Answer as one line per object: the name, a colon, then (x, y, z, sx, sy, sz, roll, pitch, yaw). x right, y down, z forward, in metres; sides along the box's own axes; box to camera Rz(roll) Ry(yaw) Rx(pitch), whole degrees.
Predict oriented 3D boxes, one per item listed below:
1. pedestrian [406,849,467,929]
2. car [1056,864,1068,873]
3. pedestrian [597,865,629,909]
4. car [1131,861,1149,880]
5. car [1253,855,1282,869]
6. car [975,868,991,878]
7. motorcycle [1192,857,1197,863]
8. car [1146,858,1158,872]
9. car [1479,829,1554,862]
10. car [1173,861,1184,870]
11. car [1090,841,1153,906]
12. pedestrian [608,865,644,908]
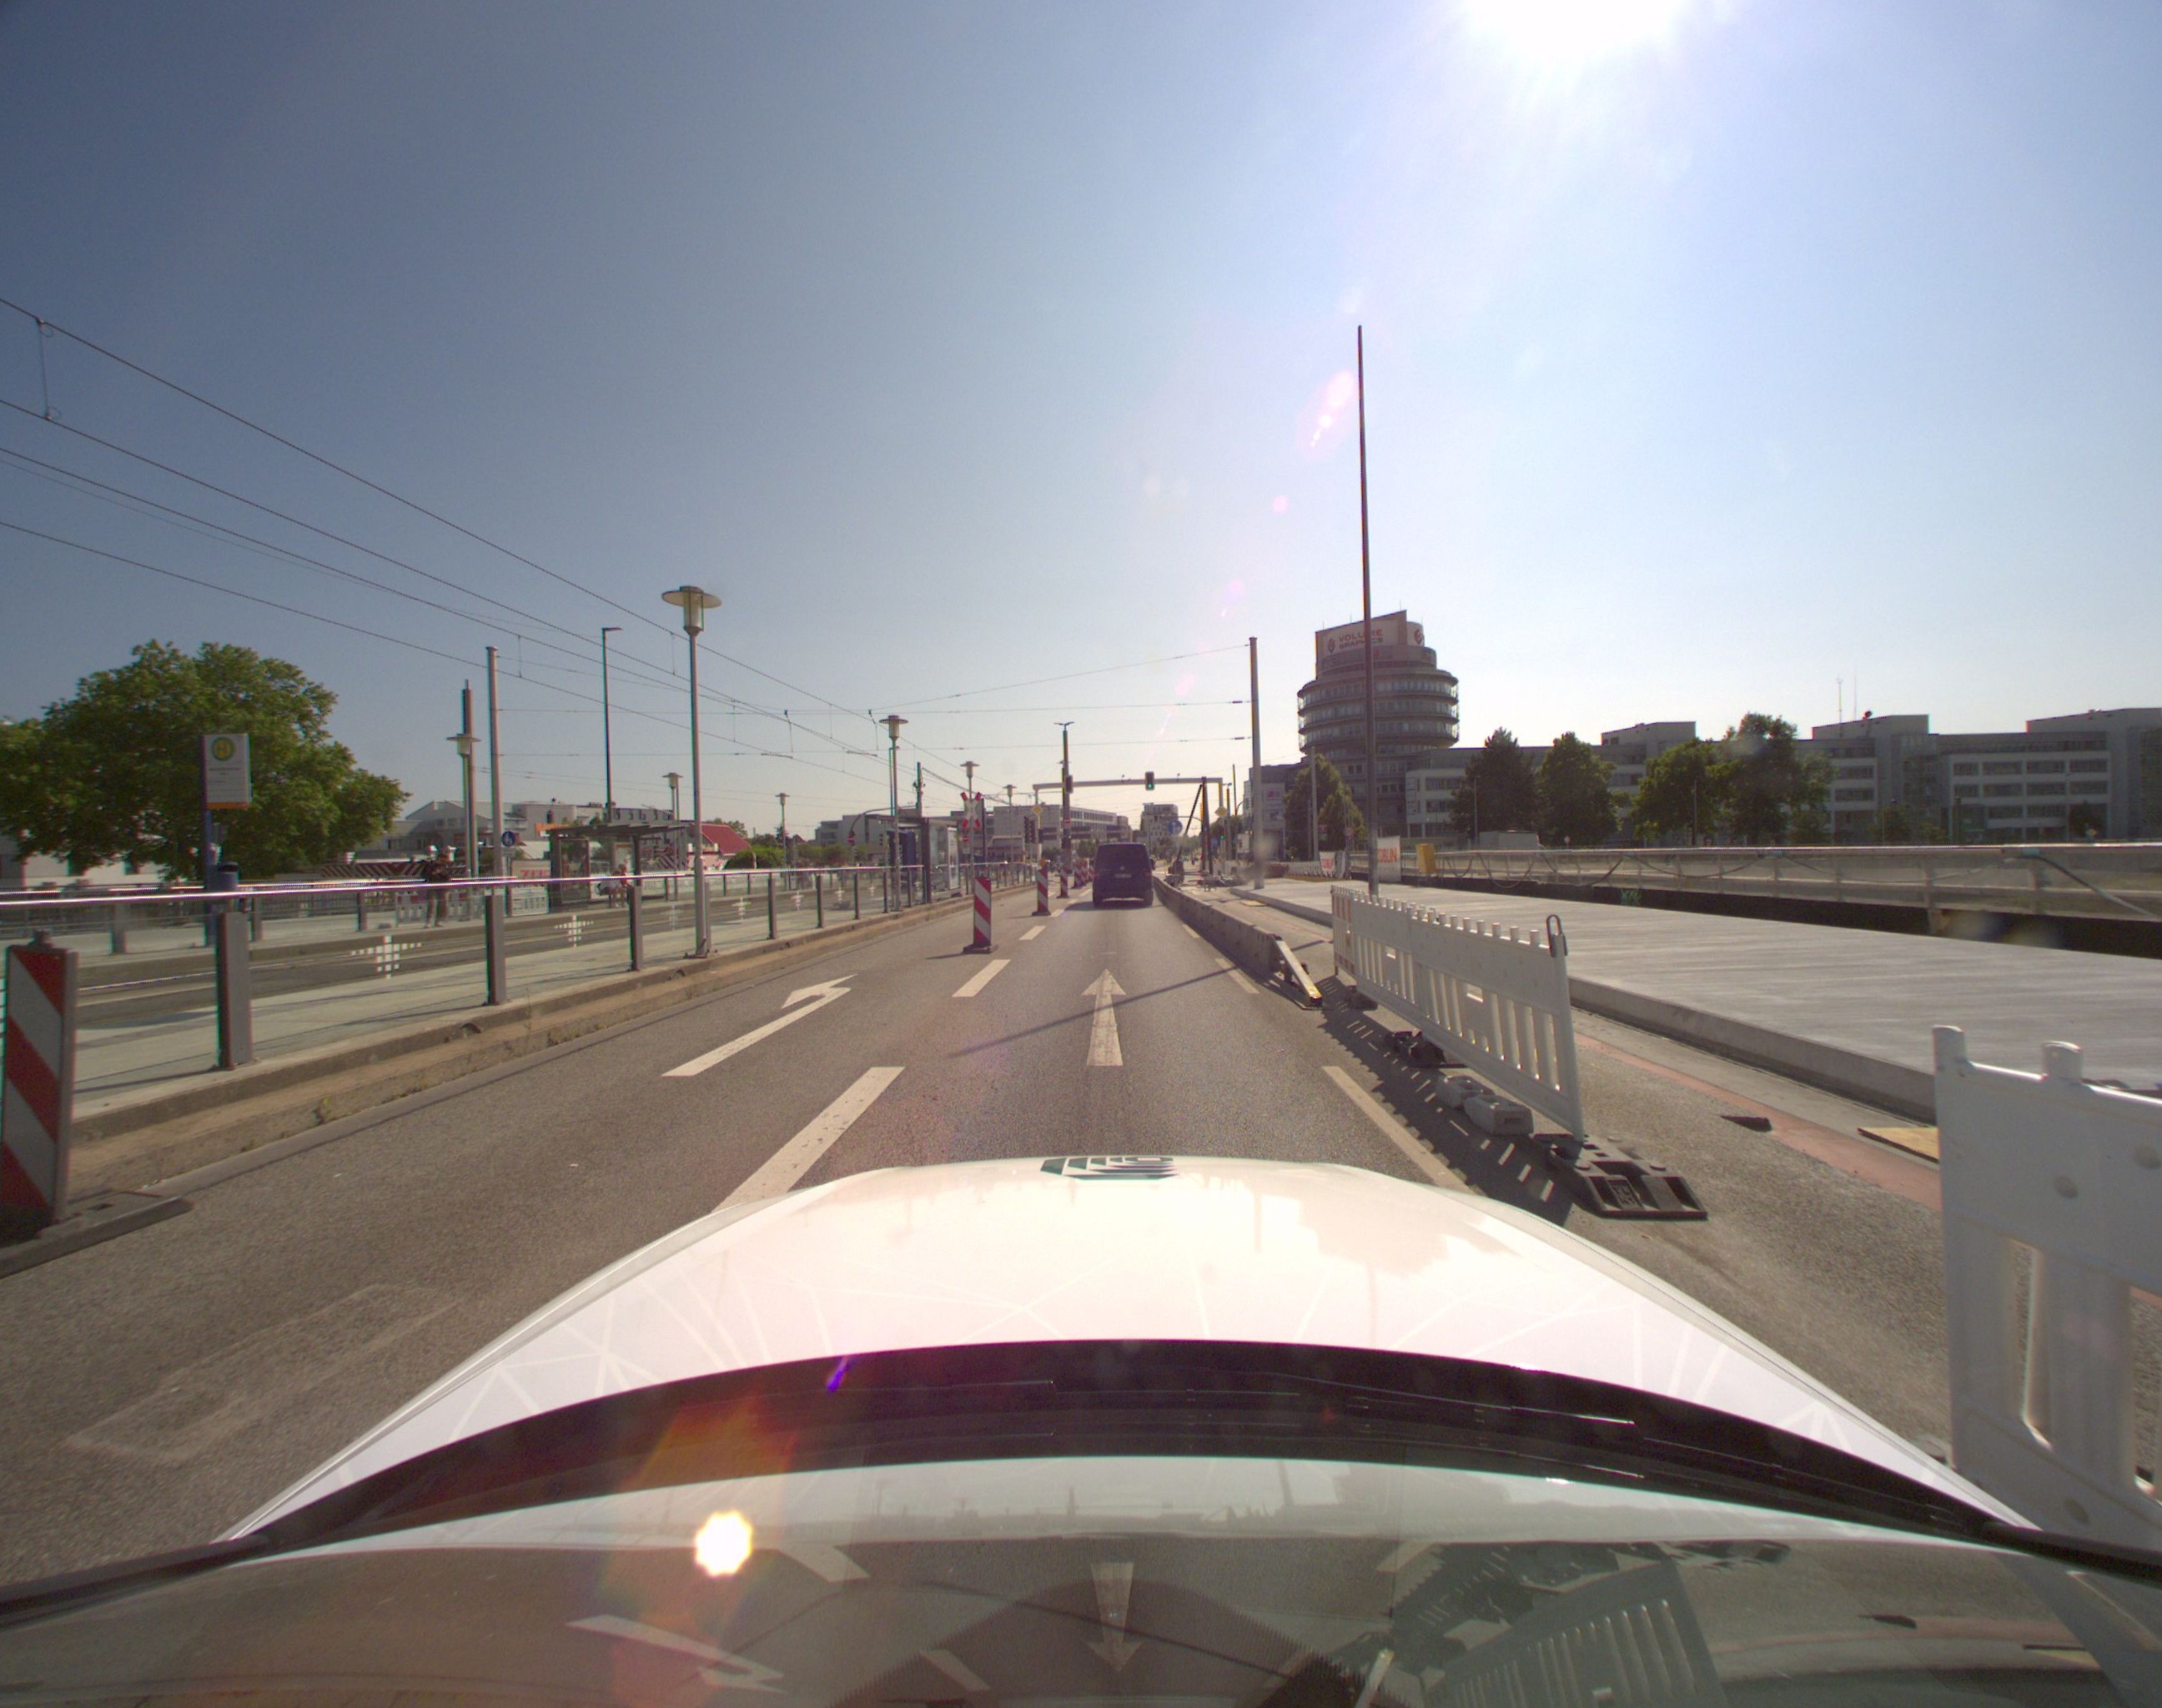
pedestrian: (-13.686, 0.723, 17.306, 0.655, 1.654, 0.742, -2, 0, 13)
car: (-3.212, 2.409, 137.987, 1.741, 1.486, 4.001, -2, 0, 1)
pedestrian: (-13.985, 0.988, 24.337, 0.645, 1.274, 0.454, -1, 0, 5)
car: (5.721, 1.543, 78.919, 1.637, 1.728, 4.006, 0, 0, 5)
car: (26.434, 1.133, 115.639, 3.797, 1.797, 1.682, 0, 1, 3)
car: (-15.864, 3.043, 131.724, 1.770, 1.538, 4.004, -1, 0, 4)
motorcycle: (25.630, 1.348, 183.837, 1.155, 1.242, 3.016, -1, 0, 11)
car: (9.525, 1.479, 109.266, 1.637, 1.728, 3.722, 0, 0, 5)
car: (38.792, -0.752, 72.536, 5.963, 2.887, 2.334, -1, 1, -16)
car: (16.762, 1.899, 140.198, 1.736, 1.475, 3.889, -1, 0, 5)
car: (1.322, 0.567, 26.358, 1.880, 1.934, 4.003, 0, 1, 3)
pedestrian: (-13.922, 0.976, 24.922, 0.645, 1.274, 0.698, -1, 0, 5)
